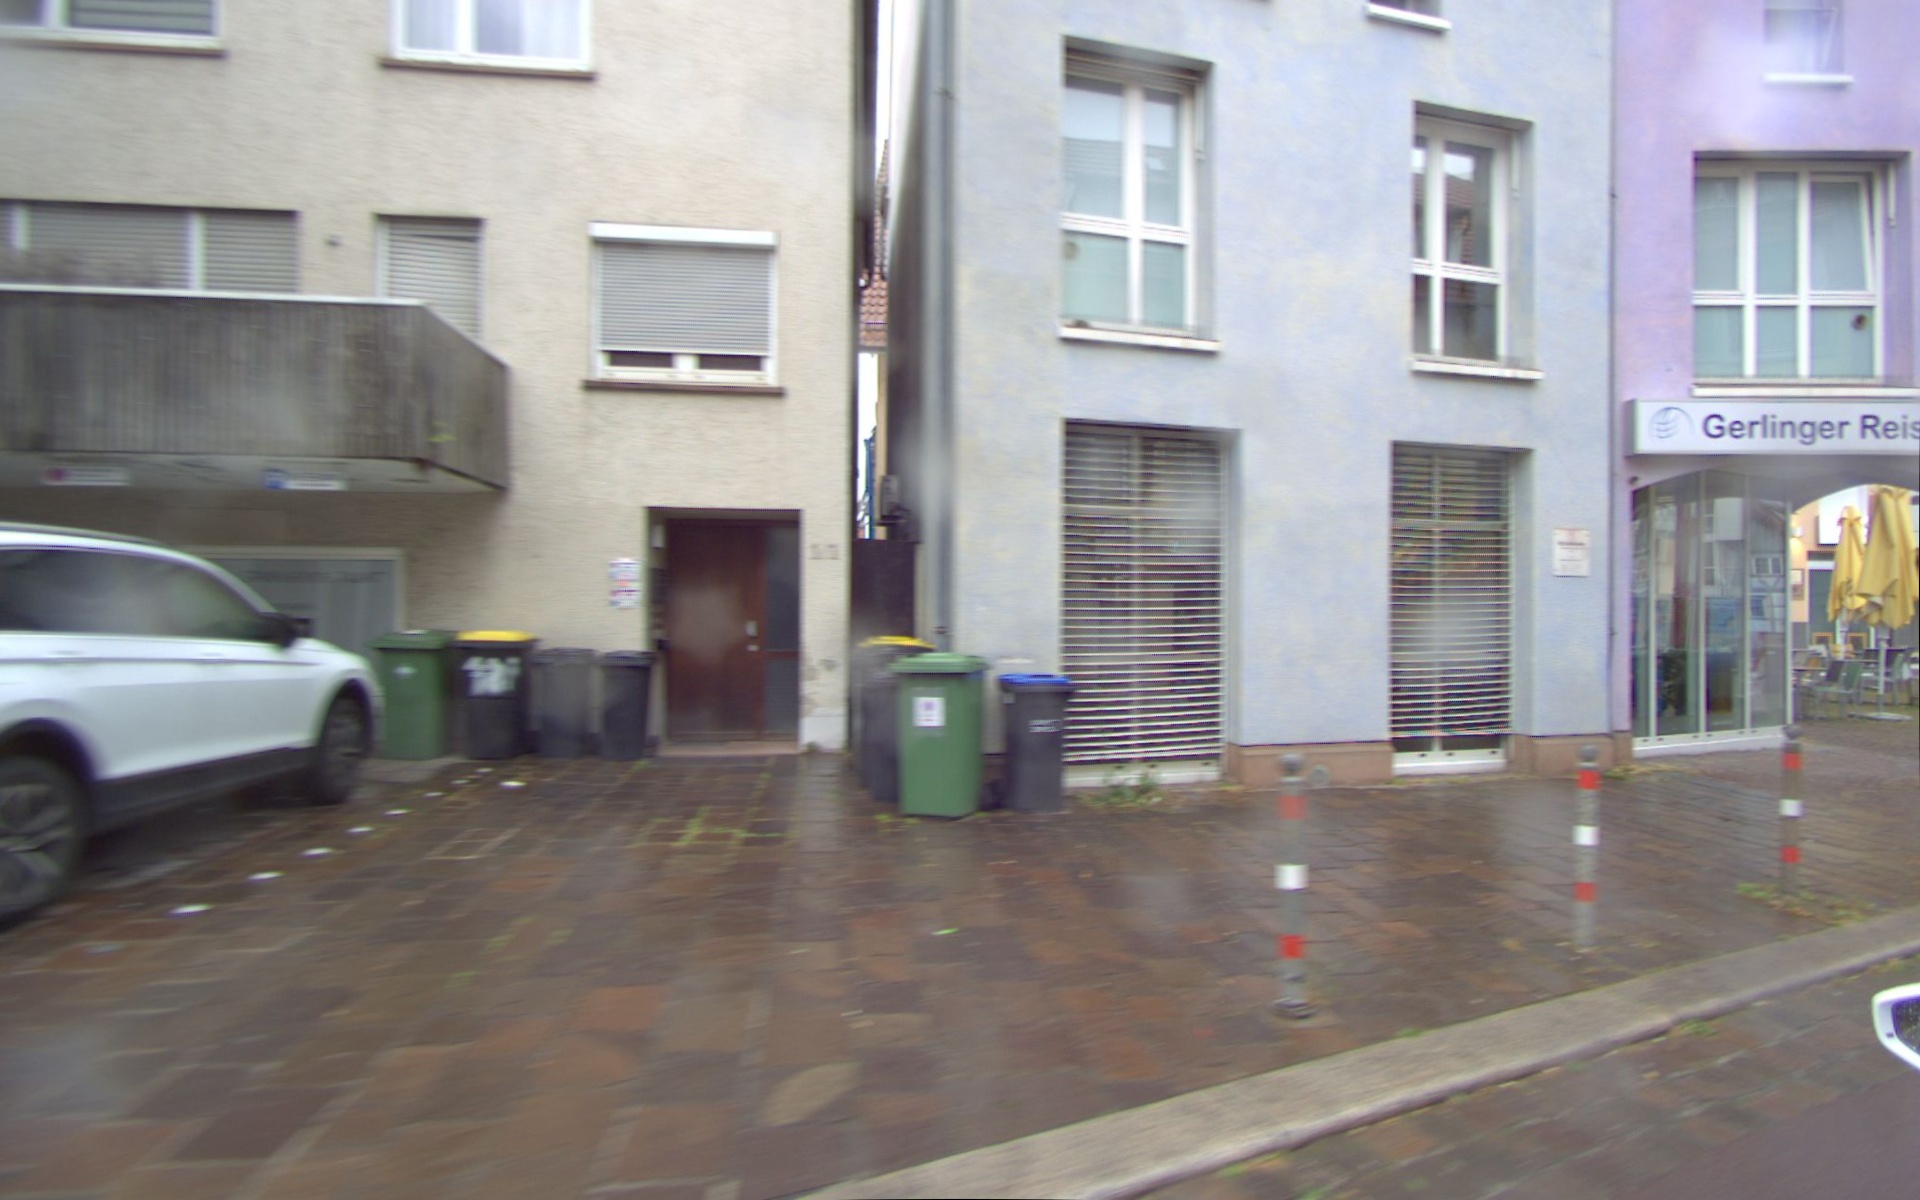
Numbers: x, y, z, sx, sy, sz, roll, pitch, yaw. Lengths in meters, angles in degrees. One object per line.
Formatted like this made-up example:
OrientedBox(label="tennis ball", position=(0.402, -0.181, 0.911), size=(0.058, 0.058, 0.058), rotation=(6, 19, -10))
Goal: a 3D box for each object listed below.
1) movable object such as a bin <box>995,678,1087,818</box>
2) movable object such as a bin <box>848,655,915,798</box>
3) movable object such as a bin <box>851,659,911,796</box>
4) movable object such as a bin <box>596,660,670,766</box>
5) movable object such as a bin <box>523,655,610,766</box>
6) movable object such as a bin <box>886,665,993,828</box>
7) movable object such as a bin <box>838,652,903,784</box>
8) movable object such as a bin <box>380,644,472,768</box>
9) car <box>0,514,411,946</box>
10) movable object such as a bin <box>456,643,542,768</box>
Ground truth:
OrientedBox(label="movable object such as a bin", position=(0.560, 1.015, 7.025), size=(0.444, 0.907, 0.458), rotation=(3, -1, -25))
OrientedBox(label="movable object such as a bin", position=(-0.599, 0.961, 7.761), size=(0.464, 1.041, 0.475), rotation=(2, -1, -3))
OrientedBox(label="movable object such as a bin", position=(-0.561, 0.898, 7.199), size=(0.379, 0.927, 0.437), rotation=(2, -1, -4))
OrientedBox(label="movable object such as a bin", position=(-2.903, 0.996, 8.948), size=(0.521, 0.880, 0.542), rotation=(2, -1, -10))
OrientedBox(label="movable object such as a bin", position=(-3.451, 0.959, 8.845), size=(0.556, 0.907, 0.590), rotation=(2, -1, -9))
OrientedBox(label="movable object such as a bin", position=(-0.141, 0.953, 6.664), size=(0.564, 1.002, 0.486), rotation=(3, -1, -18))
OrientedBox(label="movable object such as a bin", position=(-0.749, 0.968, 8.366), size=(0.465, 1.041, 0.475), rotation=(2, -1, -10))
OrientedBox(label="movable object such as a bin", position=(-4.555, 0.892, 8.597), size=(0.521, 1.003, 0.541), rotation=(2, -1, -12))
OrientedBox(label="car", position=(-4.612, 0.483, 5.075), size=(1.799, 1.604, 3.995), rotation=(2, -1, -7))
OrientedBox(label="movable object such as a bin", position=(-3.969, 0.899, 8.678), size=(0.521, 1.025, 0.541), rotation=(2, -1, -12))
